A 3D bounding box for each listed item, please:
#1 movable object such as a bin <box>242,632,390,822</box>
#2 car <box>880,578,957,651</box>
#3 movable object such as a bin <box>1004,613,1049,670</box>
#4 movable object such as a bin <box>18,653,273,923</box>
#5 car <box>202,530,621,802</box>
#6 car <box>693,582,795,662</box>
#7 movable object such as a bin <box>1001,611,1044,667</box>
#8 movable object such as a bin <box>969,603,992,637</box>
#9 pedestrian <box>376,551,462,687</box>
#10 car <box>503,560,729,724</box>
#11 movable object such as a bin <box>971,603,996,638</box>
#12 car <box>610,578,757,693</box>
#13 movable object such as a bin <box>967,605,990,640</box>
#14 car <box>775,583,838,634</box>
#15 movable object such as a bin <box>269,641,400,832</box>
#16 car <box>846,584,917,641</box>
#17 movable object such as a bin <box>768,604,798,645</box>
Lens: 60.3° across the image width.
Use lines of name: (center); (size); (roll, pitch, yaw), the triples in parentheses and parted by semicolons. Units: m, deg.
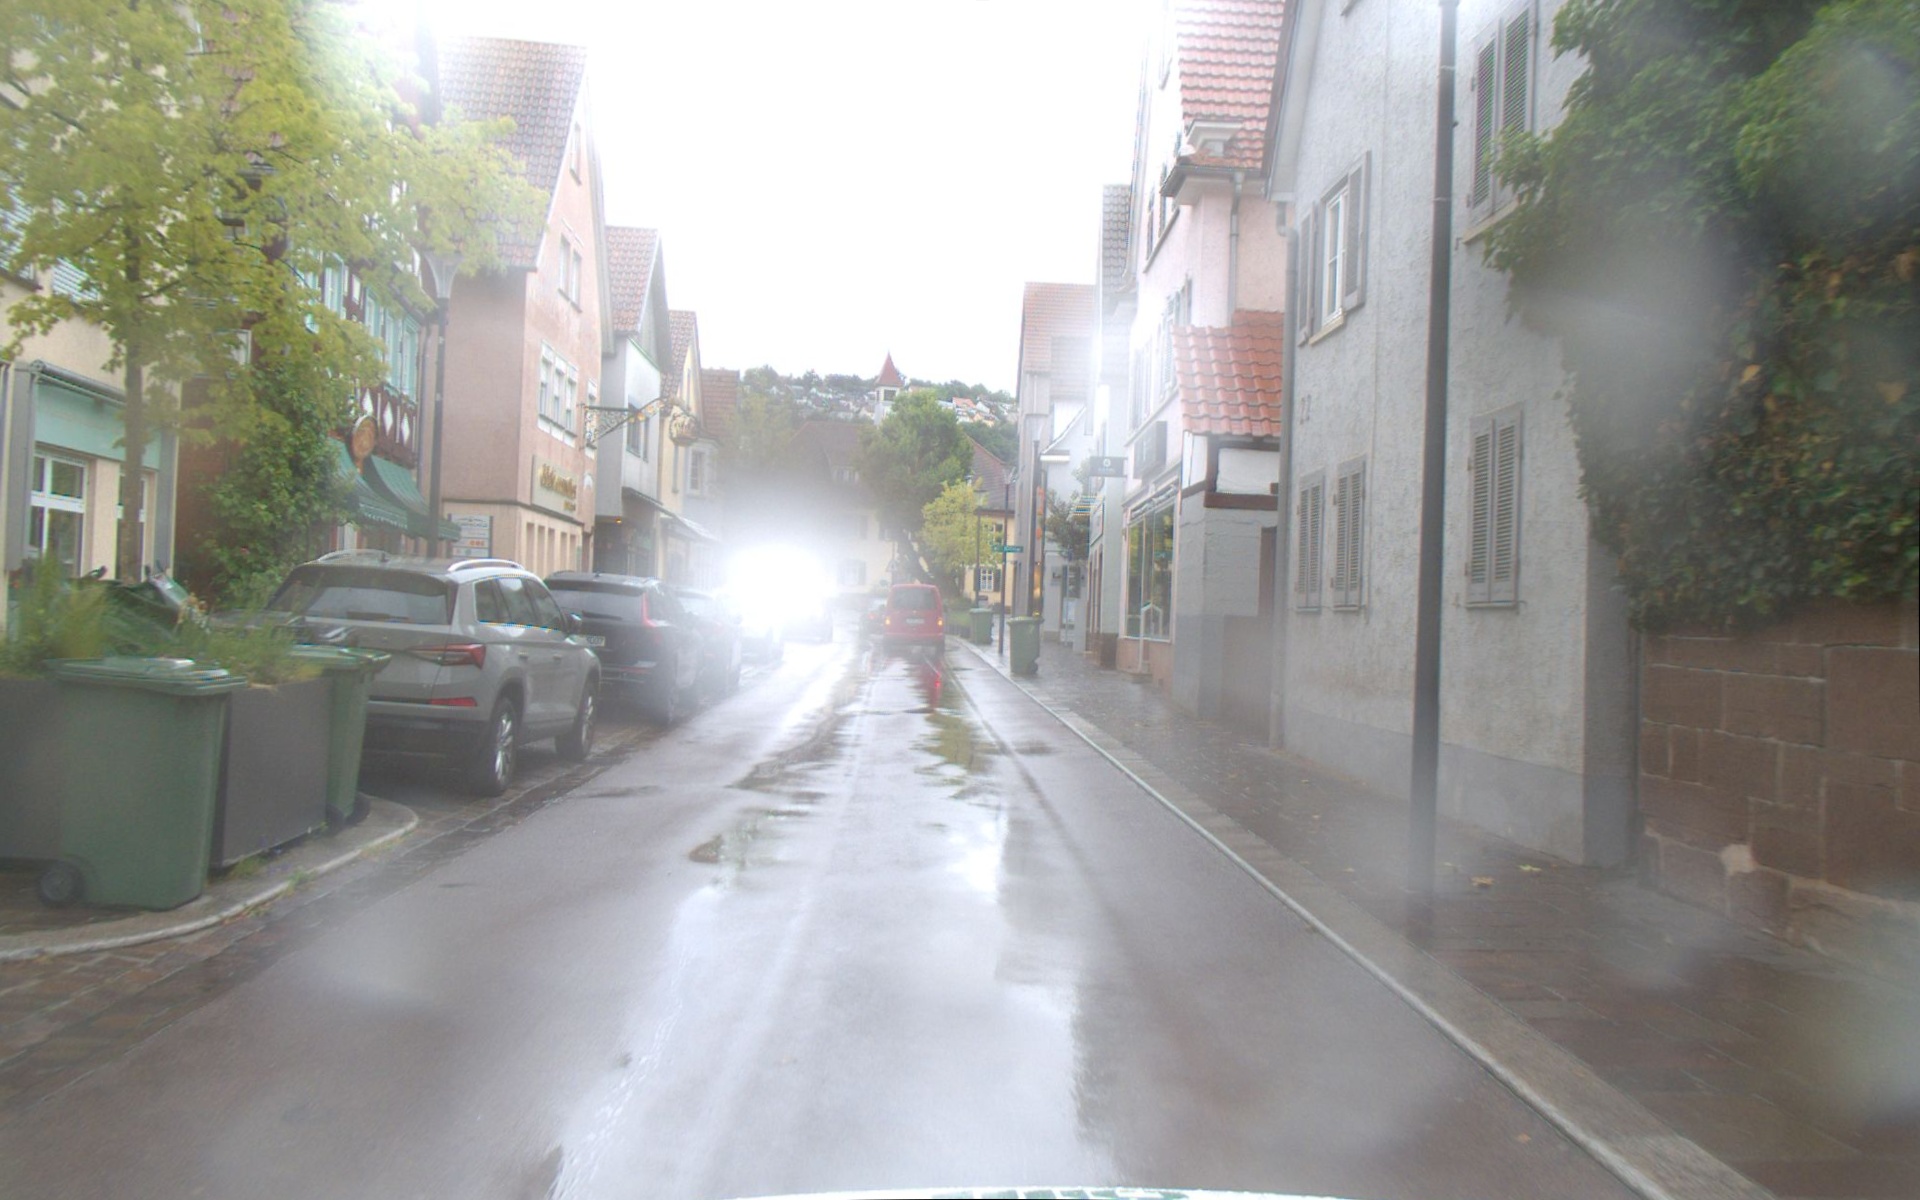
movable object such as a bin: (-4.020, 0.774, 10.378); (0.604, 1.121, 0.780); (3, -2, -5)
car: (-1.121, 0.357, 46.617); (1.855, 1.842, 4.001); (4, 1, 1)
movable object such as a bin: (1.300, 0.813, 32.499); (0.777, 1.099, 0.614); (2, -1, -5)
movable object such as a bin: (-3.609, 0.811, 7.393); (0.731, 1.102, 0.743); (3, -2, -4)
car: (-4.078, 0.490, 13.199); (1.787, 1.695, 4.641); (3, -1, -1)
car: (-4.754, 0.441, 36.905); (1.657, 1.565, 4.121); (3, 1, 0)
movable object such as a bin: (1.255, 0.783, 33.205); (0.780, 1.099, 0.582); (2, -1, -5)
movable object such as a bin: (0.679, 0.675, 55.463); (0.714, 1.110, 0.521); (3, -2, -1)
pedestrian: (-7.174, 0.256, 21.985); (0.773, 1.711, 1.175); (3, -2, -6)
car: (-4.076, 0.408, 20.350); (1.787, 1.695, 4.642); (3, 1, -1)
movable object such as a bin: (0.761, 0.664, 54.255); (0.752, 1.098, 0.599); (3, -2, -1)
car: (-4.281, 0.490, 26.201); (1.744, 1.565, 4.288); (3, 1, -3)
movable object such as a bin: (0.619, 0.766, 56.107); (0.721, 1.117, 0.611); (3, -2, -2)
car: (-4.915, 0.238, 53.327); (1.657, 1.468, 3.884); (3, 1, -1)
movable object such as a bin: (-3.666, 0.787, 9.727); (0.541, 1.064, 0.534); (3, -2, -6)
car: (-2.785, 0.460, 57.821); (1.957, 1.831, 3.991); (3, -1, -9)
movable object such as a bin: (-4.790, 0.657, 44.790); (0.695, 1.071, 0.704); (3, -2, -1)
